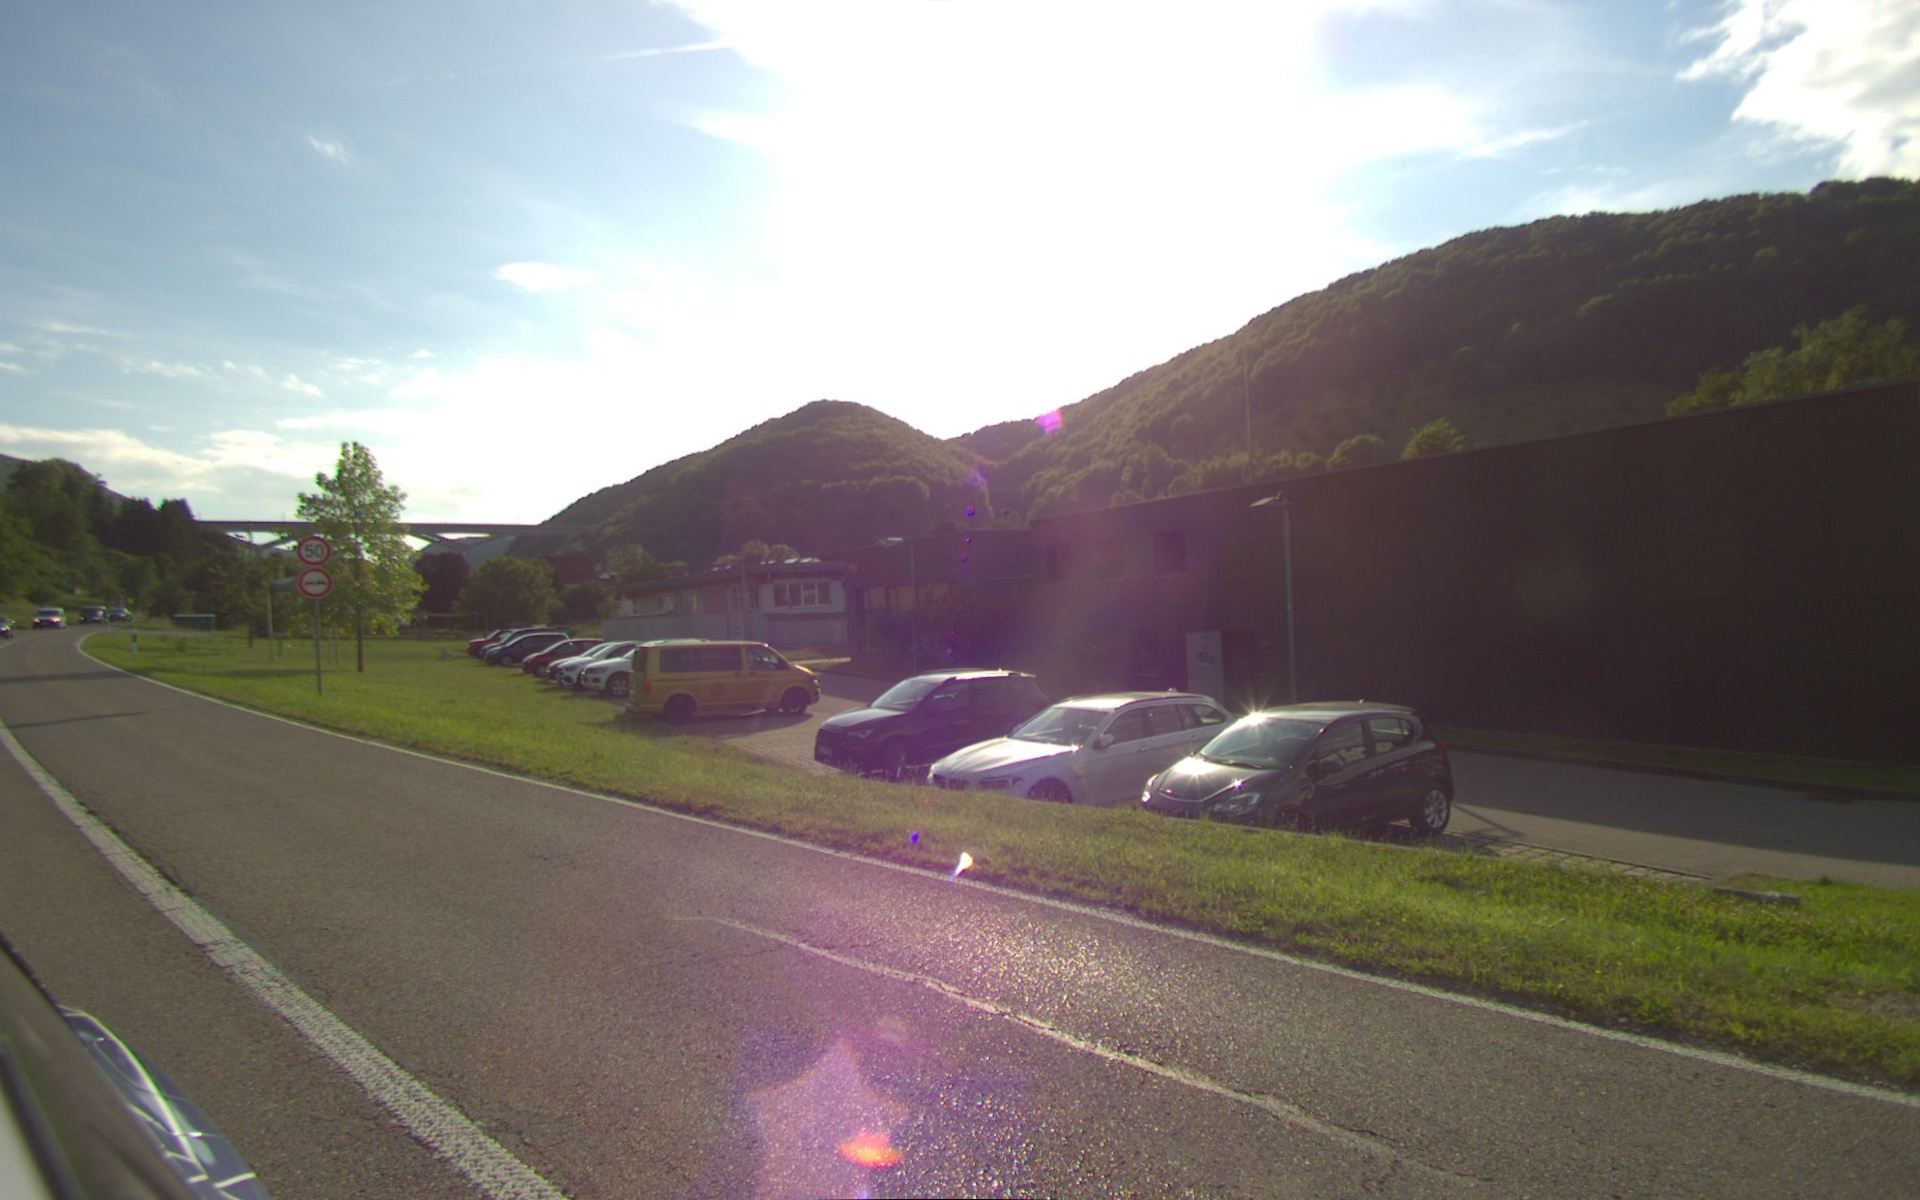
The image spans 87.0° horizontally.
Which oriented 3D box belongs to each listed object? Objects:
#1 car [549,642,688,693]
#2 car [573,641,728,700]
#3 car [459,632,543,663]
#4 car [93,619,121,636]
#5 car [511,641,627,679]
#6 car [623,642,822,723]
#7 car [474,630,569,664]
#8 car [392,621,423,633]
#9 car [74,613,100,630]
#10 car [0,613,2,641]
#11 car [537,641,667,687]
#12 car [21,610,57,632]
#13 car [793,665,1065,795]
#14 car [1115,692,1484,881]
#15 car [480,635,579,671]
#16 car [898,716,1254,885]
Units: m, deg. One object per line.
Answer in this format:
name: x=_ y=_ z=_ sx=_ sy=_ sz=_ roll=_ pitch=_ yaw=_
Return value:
car: x=-12.097 y=2.345 z=35.883 sx=4.370 sy=1.599 sz=2.006 roll=0 pitch=-2 yaw=-30
car: x=-10.075 y=2.249 z=33.012 sx=4.477 sy=1.714 sz=2.006 roll=0 pitch=-2 yaw=-30
car: x=-27.302 y=2.790 z=60.233 sx=4.371 sy=1.733 sz=2.006 roll=0 pitch=-2 yaw=-31
car: x=-100.496 y=3.272 z=119.212 sx=1.967 sy=1.730 sz=4.011 roll=-3 pitch=-1 yaw=-33
car: x=-16.600 y=2.513 z=43.001 sx=4.370 sy=1.463 sz=2.006 roll=0 pitch=-2 yaw=-30
car: x=-6.044 y=2.031 z=25.886 sx=4.583 sy=1.827 sz=2.006 roll=0 pitch=-2 yaw=-30
car: x=-24.196 y=2.553 z=55.898 sx=4.595 sy=1.776 sz=2.006 roll=0 pitch=-2 yaw=-31
car: x=-68.528 y=3.349 z=125.612 sx=1.967 sy=1.539 sz=4.783 roll=0 pitch=-1 yaw=-10
car: x=-91.848 y=2.260 z=106.503 sx=1.651 sy=1.659 sz=3.355 roll=-1 pitch=-1 yaw=-32
car: x=-59.922 y=1.651 z=61.756 sx=1.884 sy=1.698 sz=4.007 roll=0 pitch=-2 yaw=-40
car: x=-13.723 y=2.394 z=38.851 sx=4.371 sy=1.595 sz=2.006 roll=0 pitch=-2 yaw=-32
car: x=-78.306 y=1.803 z=86.079 sx=1.770 sy=1.749 sz=4.294 roll=-1 pitch=-1 yaw=-35
car: x=-0.470 y=2.090 z=17.233 sx=4.226 sy=1.650 sz=1.917 roll=-2 pitch=-1 yaw=-35
car: x=3.880 y=1.939 z=11.451 sx=3.932 sy=1.546 sz=1.839 roll=0 pitch=-2 yaw=-31
car: x=-21.951 y=2.674 z=51.626 sx=4.371 sy=1.595 sz=2.006 roll=-1 pitch=-1 yaw=-31
car: x=1.633 y=2.498 z=13.521 sx=4.577 sy=1.508 sz=1.918 roll=1 pitch=-2 yaw=-34
